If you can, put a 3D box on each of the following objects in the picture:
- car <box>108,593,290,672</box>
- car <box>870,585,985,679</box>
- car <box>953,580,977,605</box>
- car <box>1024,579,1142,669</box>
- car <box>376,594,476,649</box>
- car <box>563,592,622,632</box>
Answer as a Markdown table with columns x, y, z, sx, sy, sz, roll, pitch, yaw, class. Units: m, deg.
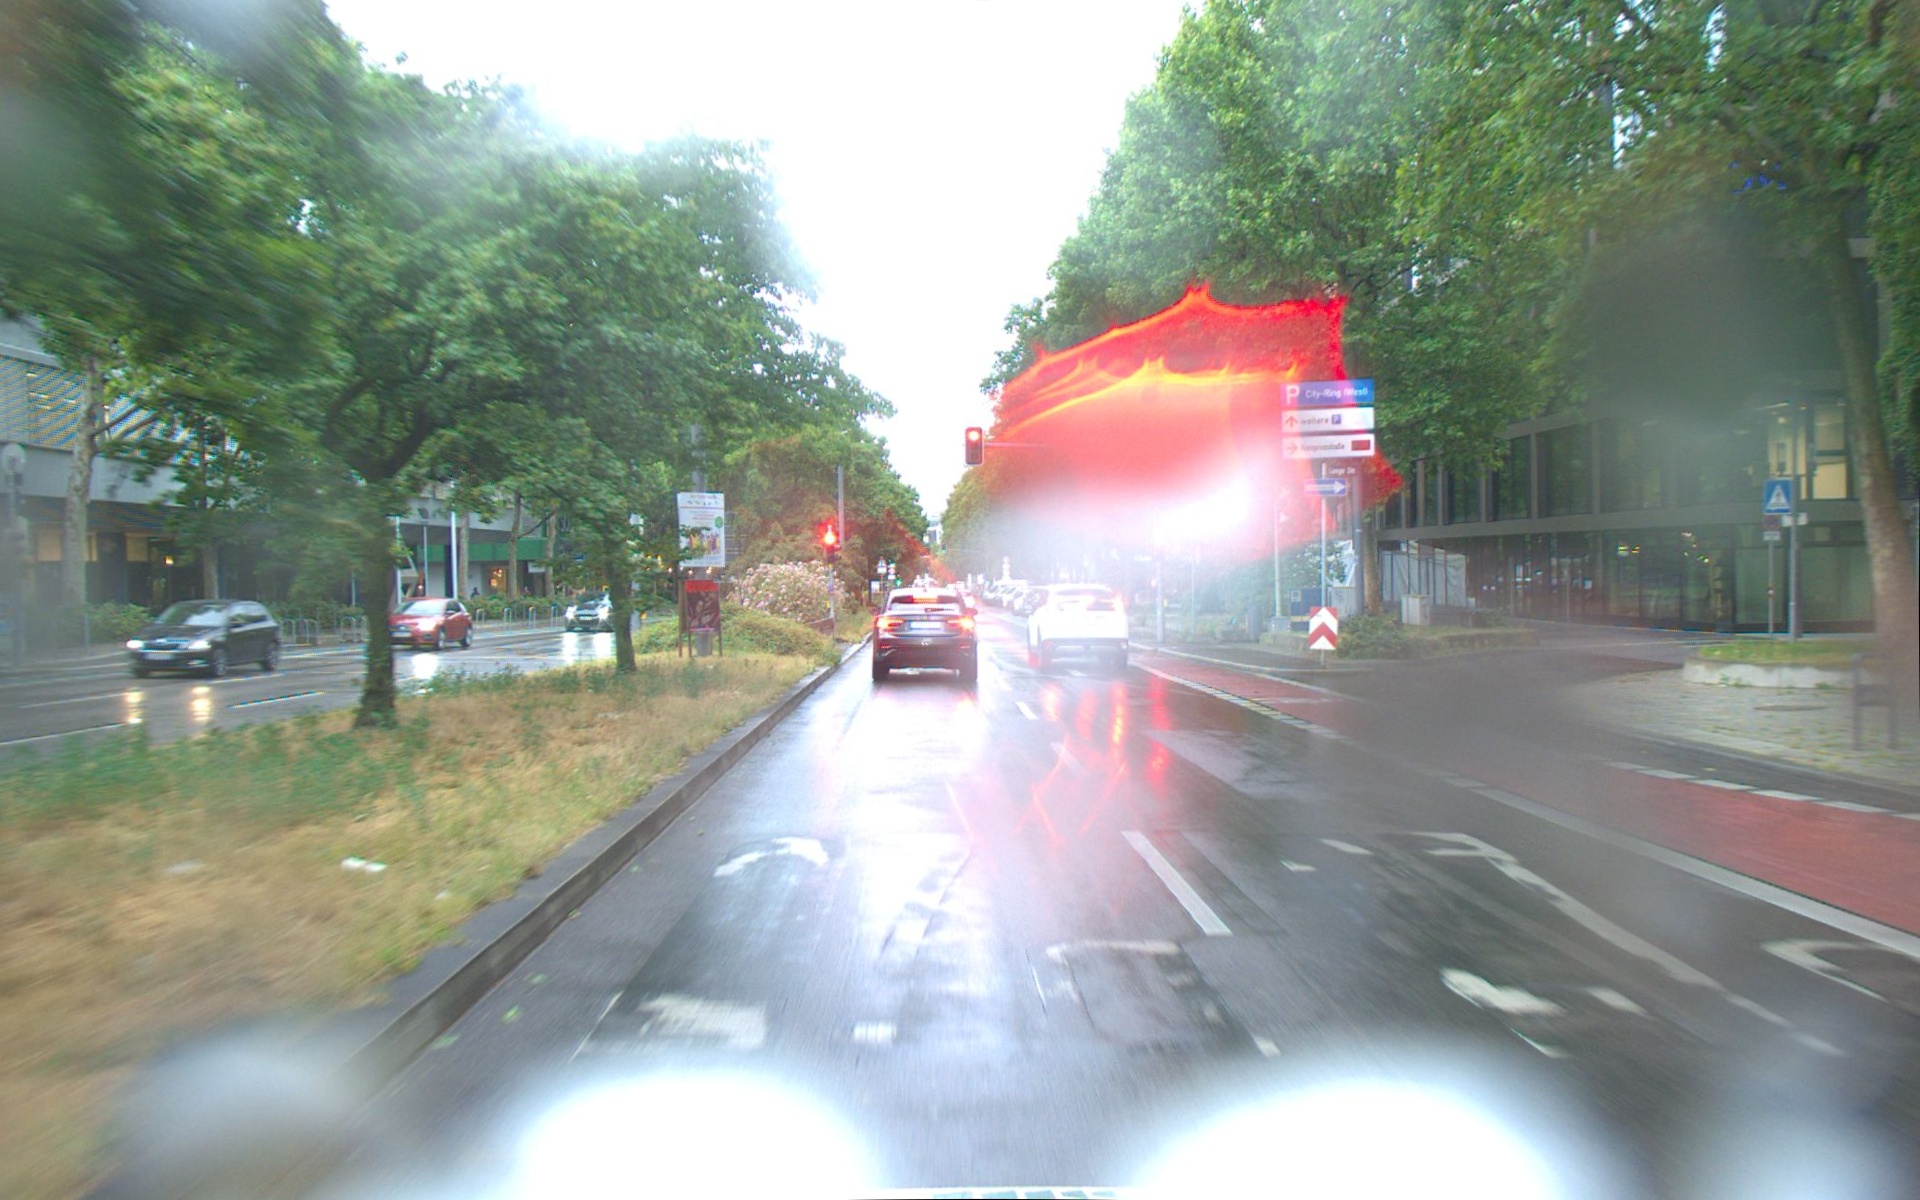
| x | y | z | sx | sy | sz | roll | pitch | yaw | class |
| --- | --- | --- | --- | --- | --- | --- | --- | --- | --- |
| -14.915 | 0.595 | 32.658 | 1.806 | 1.413 | 3.999 | -1 | 1 | -2 | car |
| -0.591 | 0.510 | 29.400 | 1.880 | 1.517 | 3.999 | -1 | 1 | -2 | car |
| 0.377 | -0.563 | 119.529 | 1.588 | 1.695 | 3.999 | -1 | 1 | -2 | car |
| 2.480 | 0.432 | 34.481 | 1.953 | 1.684 | 4.887 | -1 | 1 | -2 | car |
| -15.244 | 0.582 | 47.419 | 1.582 | 1.418 | 4.183 | -1 | 1 | -2 | car |
| -15.290 | 0.478 | 68.993 | 1.794 | 1.579 | 4.186 | -1 | 0 | -4 | car |
